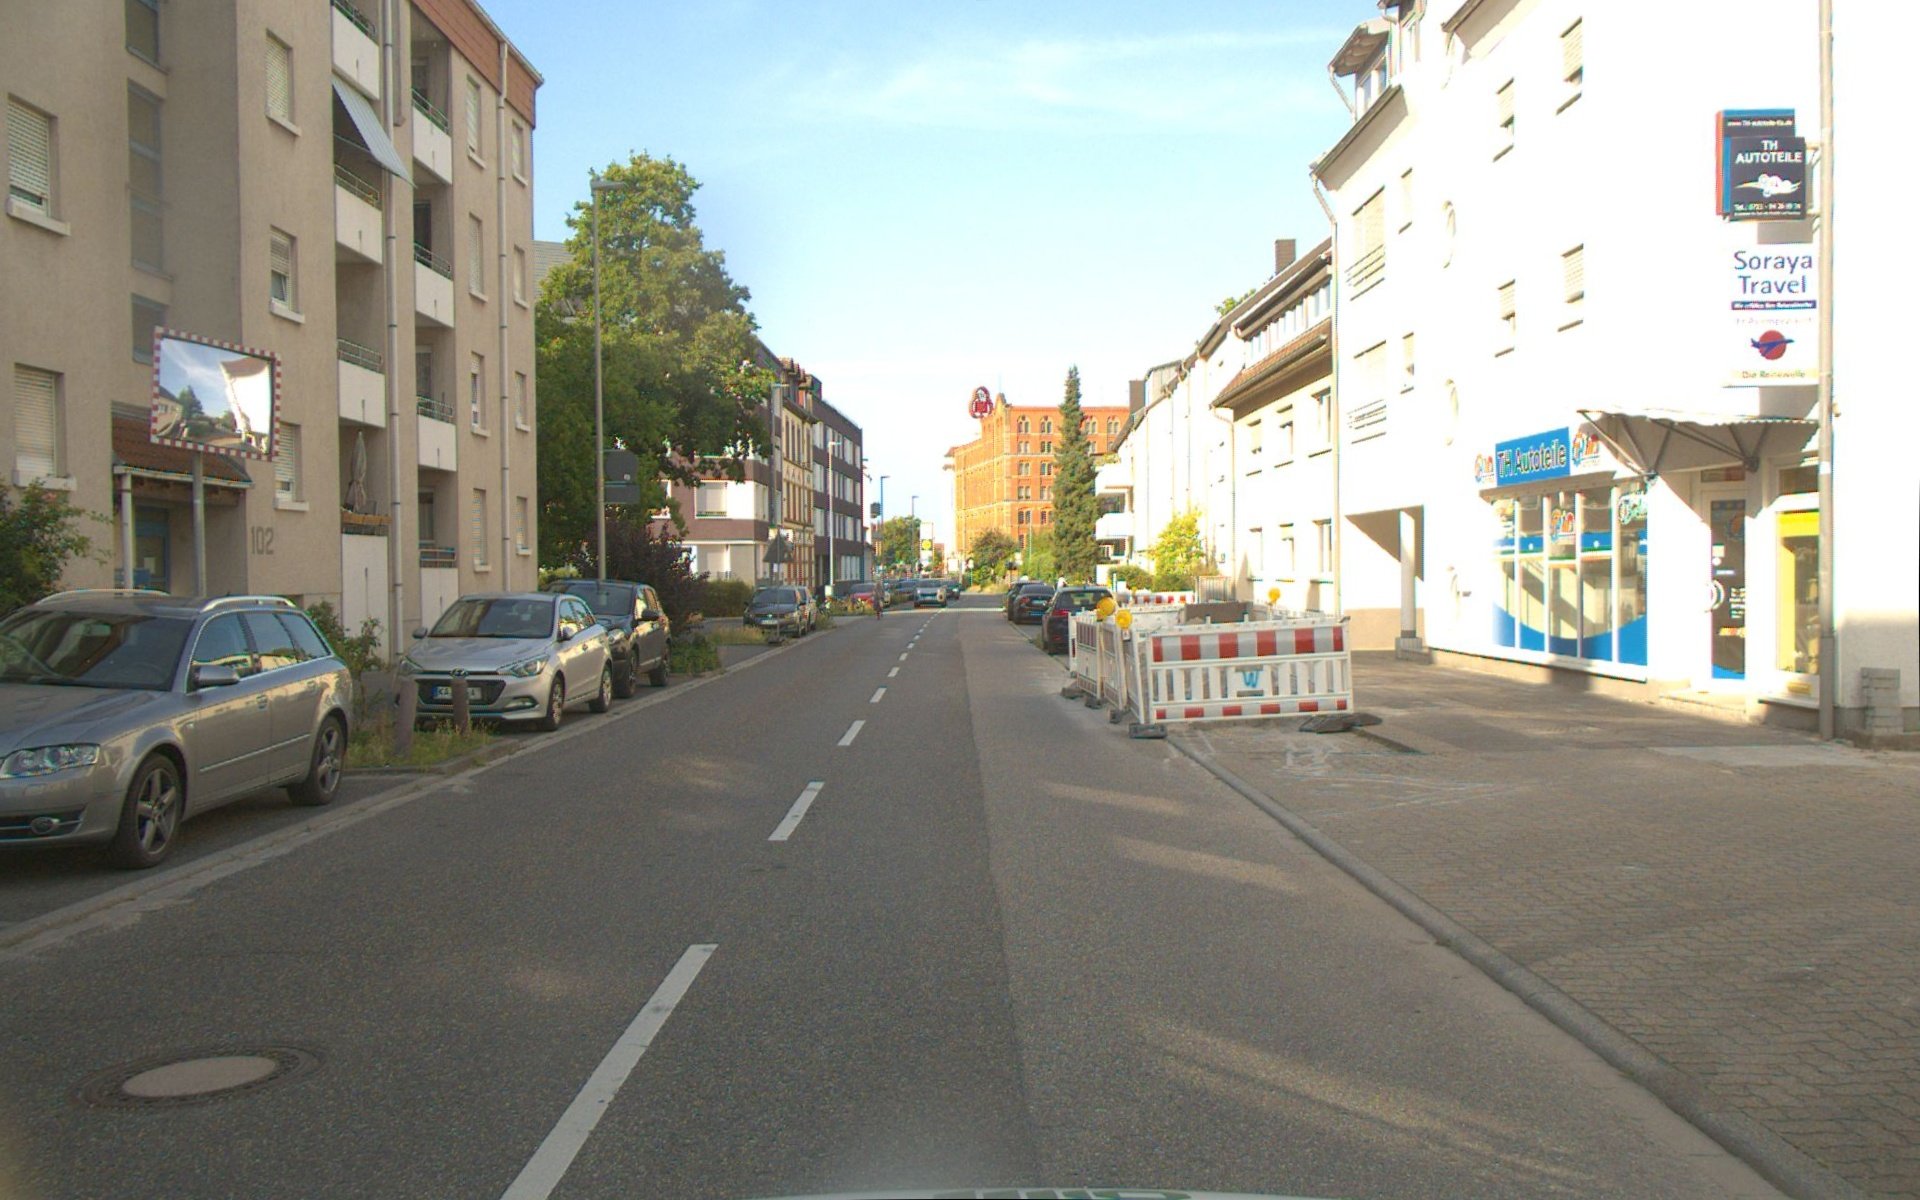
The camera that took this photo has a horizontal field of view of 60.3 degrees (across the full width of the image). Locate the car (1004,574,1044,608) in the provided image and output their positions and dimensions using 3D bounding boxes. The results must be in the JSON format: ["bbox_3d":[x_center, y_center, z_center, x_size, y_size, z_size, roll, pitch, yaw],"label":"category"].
[{"bbox_3d":[3.052,-0.442,79.335,1.727,1.552,4.000,-2,1,0],"label":"car"}]

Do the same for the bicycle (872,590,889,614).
[{"bbox_3d":[-3.407,0.078,70.596,0.596,0.959,1.811,-1,1,1],"label":"bicycle"}]

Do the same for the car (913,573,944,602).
[{"bbox_3d":[-1.851,-0.757,97.518,1.727,1.644,4.000,-2,1,0],"label":"car"}]

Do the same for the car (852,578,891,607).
[{"bbox_3d":[-4.637,-0.409,87.213,1.802,1.489,3.585,-1,1,0],"label":"car"}]

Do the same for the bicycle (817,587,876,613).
[{"bbox_3d":[-5.446,0.004,79.316,2.716,1.164,1.143,-1,1,1],"label":"bicycle"}]

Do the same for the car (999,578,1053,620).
[{"bbox_3d":[2.455,-0.073,62.091,1.821,1.497,4.000,-1,1,-1],"label":"car"}]

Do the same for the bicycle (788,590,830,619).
[{"bbox_3d":[-5.676,0.174,62.298,1.554,1.059,0.707,-1,1,-6],"label":"bicycle"}]

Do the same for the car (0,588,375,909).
[{"bbox_3d":[-5.271,0.721,10.361,1.771,1.547,4.369,0,1,-2],"label":"car"}]

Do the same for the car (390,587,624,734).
[{"bbox_3d":[-5.090,0.607,19.132,1.652,1.480,4.140,0,1,-1],"label":"car"}]

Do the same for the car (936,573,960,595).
[{"bbox_3d":[-0.902,-1.239,125.885,1.727,1.644,4.000,-2,1,0],"label":"car"}]

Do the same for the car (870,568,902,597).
[{"bbox_3d":[-5.053,-1.236,113.679,1.952,1.914,4.000,-1,1,0],"label":"car"}]

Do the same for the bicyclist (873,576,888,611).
[{"bbox_3d":[-3.408,-0.272,70.623,0.578,1.467,0.751,-1,0,1],"label":"bicyclist"}]

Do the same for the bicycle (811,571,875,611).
[{"bbox_3d":[-5.457,-0.410,77.540,2.858,1.808,1.202,-1,1,1],"label":"bicycle"}]

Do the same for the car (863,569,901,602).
[{"bbox_3d":[-4.606,-0.851,98.031,1.952,1.867,3.690,-1,1,1],"label":"car"}]

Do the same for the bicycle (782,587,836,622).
[{"bbox_3d":[-5.539,0.153,60.708,1.962,1.238,0.707,-1,1,-6],"label":"bicycle"}]

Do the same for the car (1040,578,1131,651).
[{"bbox_3d":[2.798,0.293,37.706,1.792,1.508,3.943,-2,1,1],"label":"car"}]

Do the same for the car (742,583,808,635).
[{"bbox_3d":[-5.425,0.248,48.859,1.541,1.445,3.803,0,1,-1],"label":"car"}]

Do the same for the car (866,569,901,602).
[{"bbox_3d":[-4.751,-0.909,103.148,1.952,1.945,3.690,-1,1,1],"label":"car"}]

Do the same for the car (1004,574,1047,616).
[{"bbox_3d":[2.634,-0.218,67.394,1.569,1.674,3.685,0,1,0],"label":"car"}]

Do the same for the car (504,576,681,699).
[{"bbox_3d":[-5.273,0.466,24.257,1.651,1.631,4.370,0,1,-1],"label":"car"}]

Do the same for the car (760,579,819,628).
[{"bbox_3d":[-5.618,0.084,54.856,1.642,1.527,3.999,-1,1,-2],"label":"car"}]
